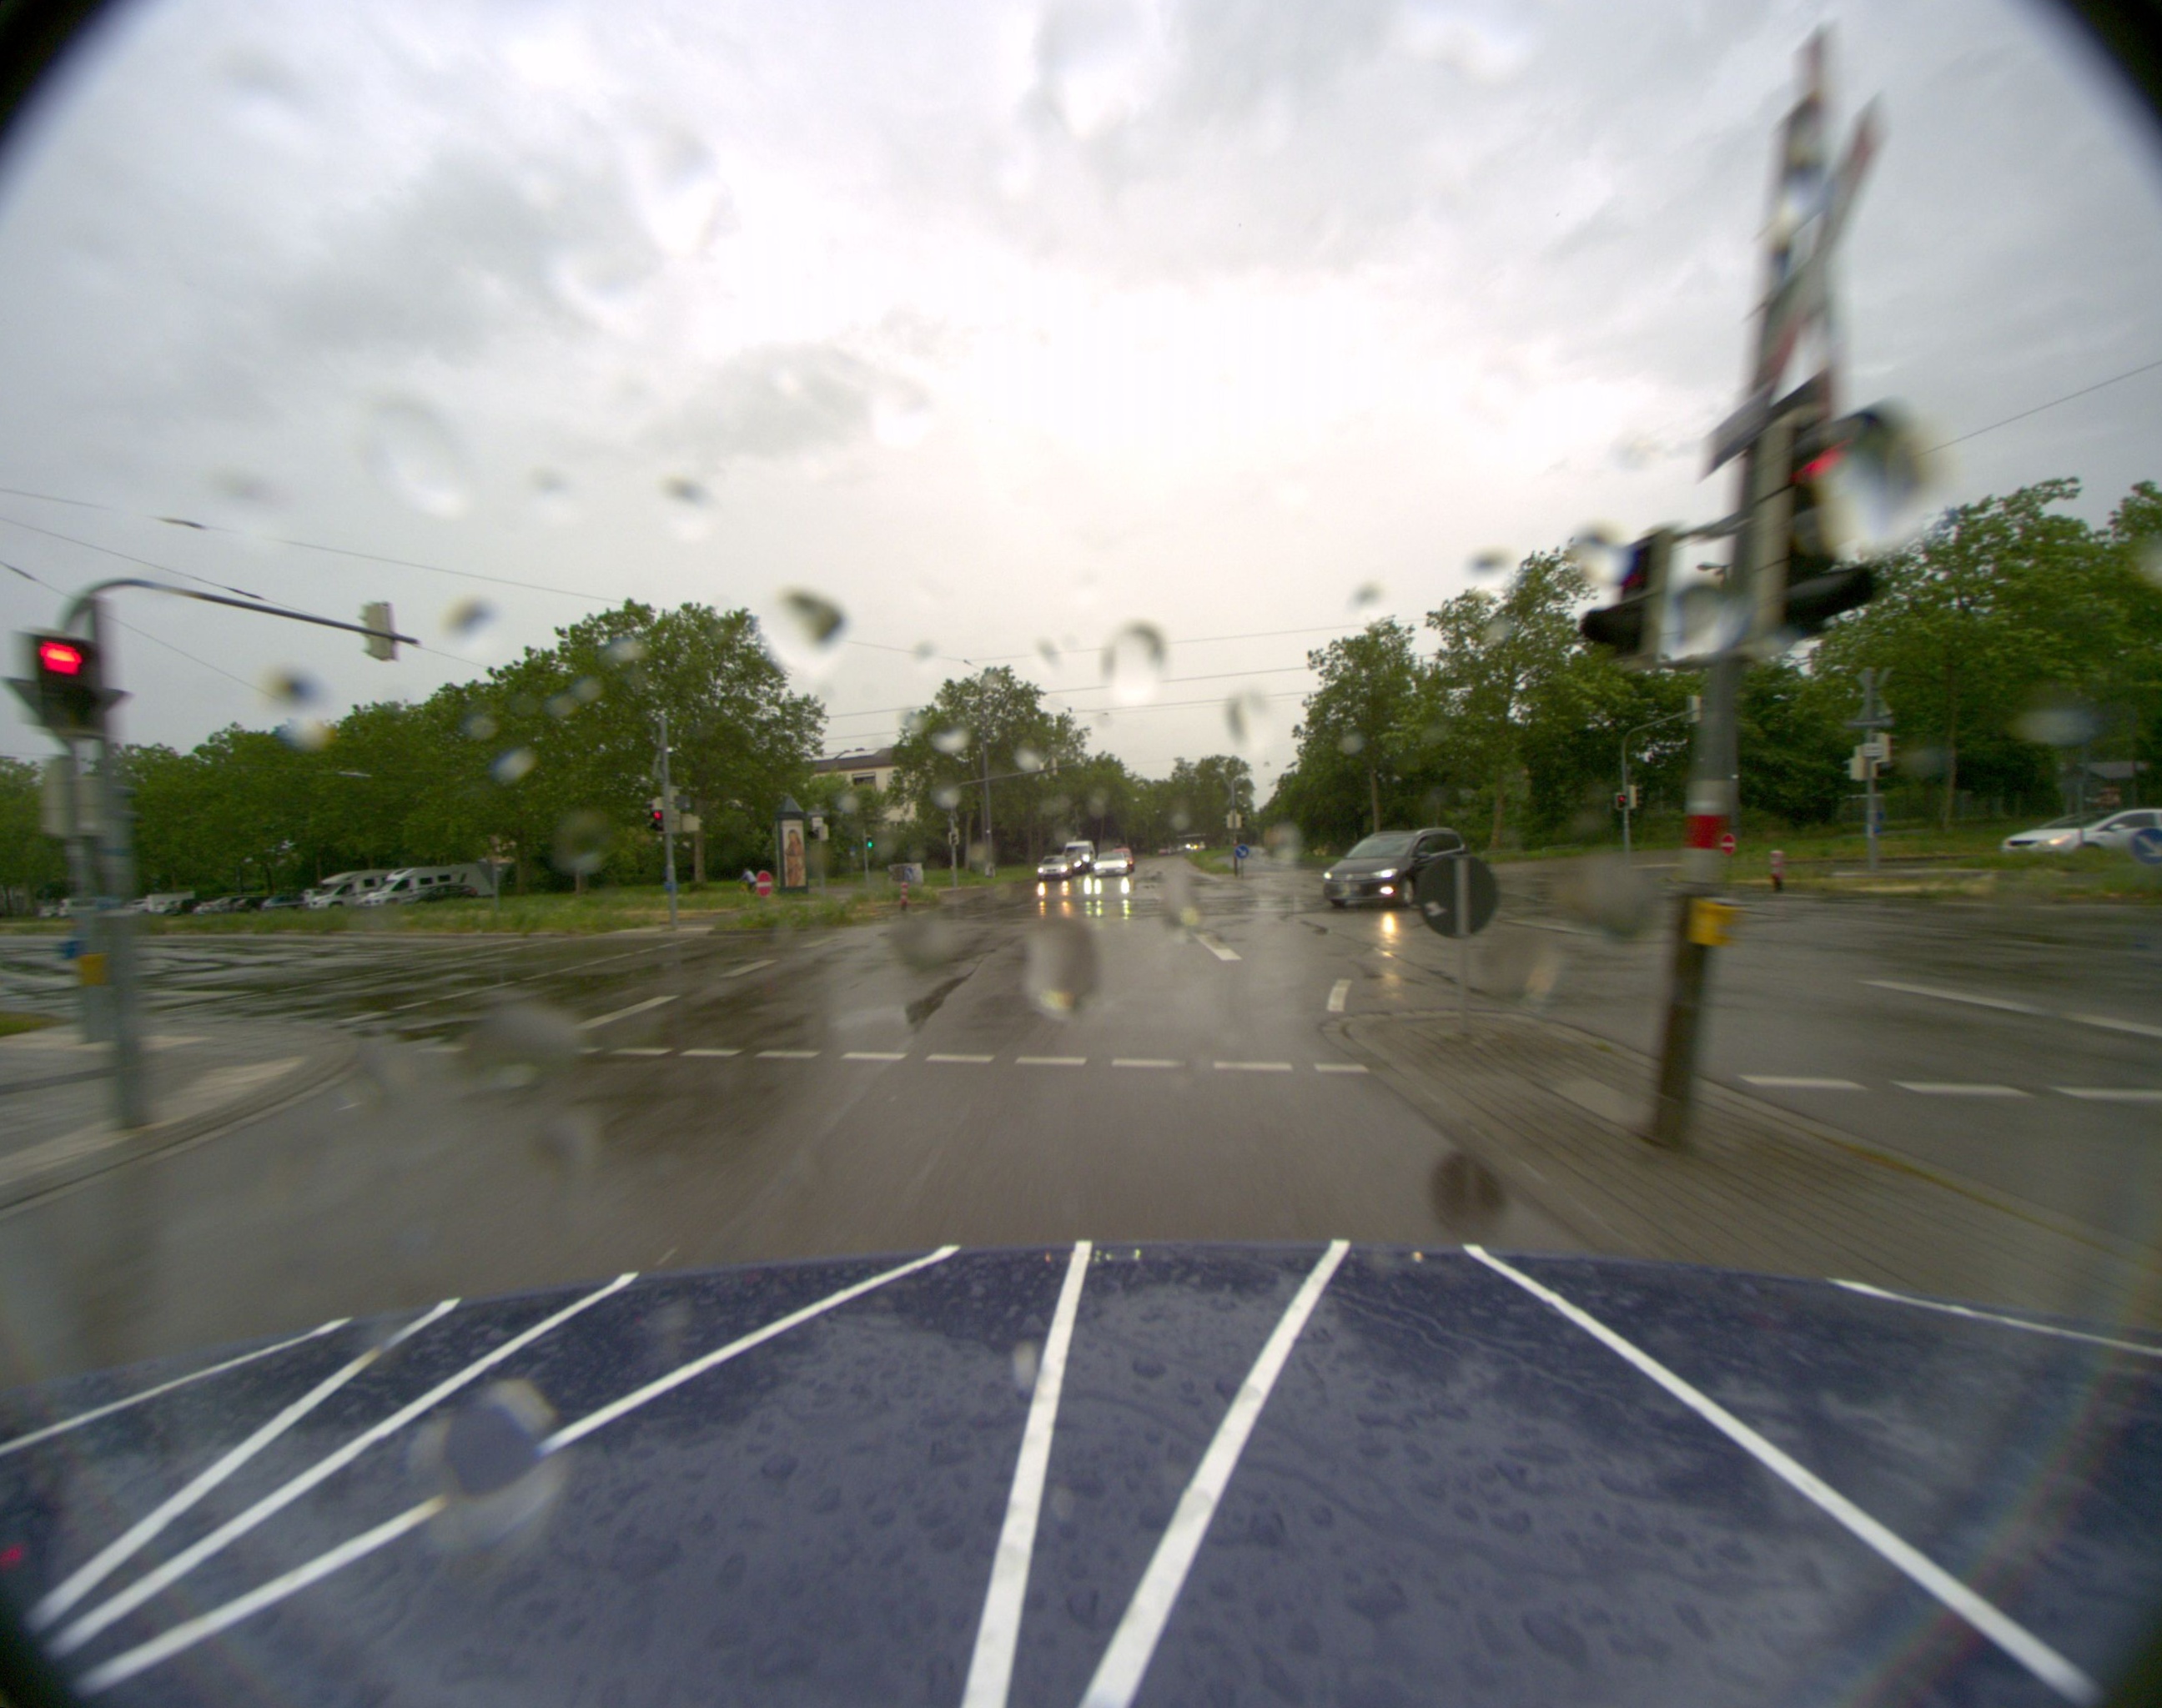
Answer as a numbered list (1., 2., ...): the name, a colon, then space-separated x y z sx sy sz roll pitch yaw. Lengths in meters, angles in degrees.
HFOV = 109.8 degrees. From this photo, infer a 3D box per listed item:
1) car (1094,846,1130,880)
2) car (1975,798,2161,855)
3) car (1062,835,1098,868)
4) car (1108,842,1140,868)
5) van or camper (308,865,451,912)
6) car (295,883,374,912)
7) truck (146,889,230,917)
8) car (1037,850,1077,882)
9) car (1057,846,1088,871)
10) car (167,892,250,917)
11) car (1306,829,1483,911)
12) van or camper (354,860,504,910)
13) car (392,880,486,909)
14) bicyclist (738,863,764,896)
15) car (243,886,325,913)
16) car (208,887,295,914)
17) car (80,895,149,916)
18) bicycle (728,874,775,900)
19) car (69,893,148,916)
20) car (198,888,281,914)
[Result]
1. car: 1.865 0.507 45.133 1.932 1.817 4.610 -3 0 3
2. car: 28.045 -0.752 21.045 3.991 1.355 1.791 -3 0 11
3. car: -0.020 -0.166 58.892 1.998 2.378 5.626 -3 0 6
4. car: 2.991 0.097 51.614 1.788 1.597 4.621 -3 -1 7
5. van or camper: -54.395 2.640 59.164 3.254 3.159 7.464 -3 0 31
6. car: -61.115 3.533 62.250 2.180 2.001 4.195 -3 0 34
7. truck: -84.802 4.647 72.203 2.424 2.324 4.747 -3 0 29
8. car: -1.379 0.699 45.262 1.932 1.681 4.409 -3 0 3
9. car: -0.552 0.338 53.257 1.789 1.597 4.070 -3 0 3
10. car: -81.629 4.698 71.119 2.424 2.001 4.747 -3 -1 33
11. car: 7.309 0.314 17.494 4.533 1.592 1.863 -3 -1 -41
12. van or camper: -46.623 2.138 54.629 3.254 3.159 7.359 -3 0 27
13. car: -43.887 2.755 52.048 1.995 1.706 4.467 -3 -1 30
14. bicyclist: -15.695 1.211 36.154 0.843 1.497 0.693 -4 0 6
15. car: -65.680 3.712 62.682 1.962 1.933 4.320 -3 0 35
16. car: -72.191 4.005 66.210 2.424 2.001 4.747 -3 -1 34
17. car: -98.768 5.273 77.688 1.877 1.772 4.006 -3 0 24
18. bicycle: -15.670 1.563 36.158 1.883 1.110 0.693 -4 0 6
19. car: -101.326 5.200 79.212 2.039 2.001 4.658 -3 0 25
20. car: -77.035 4.297 69.638 2.424 2.001 4.747 -3 -1 34
